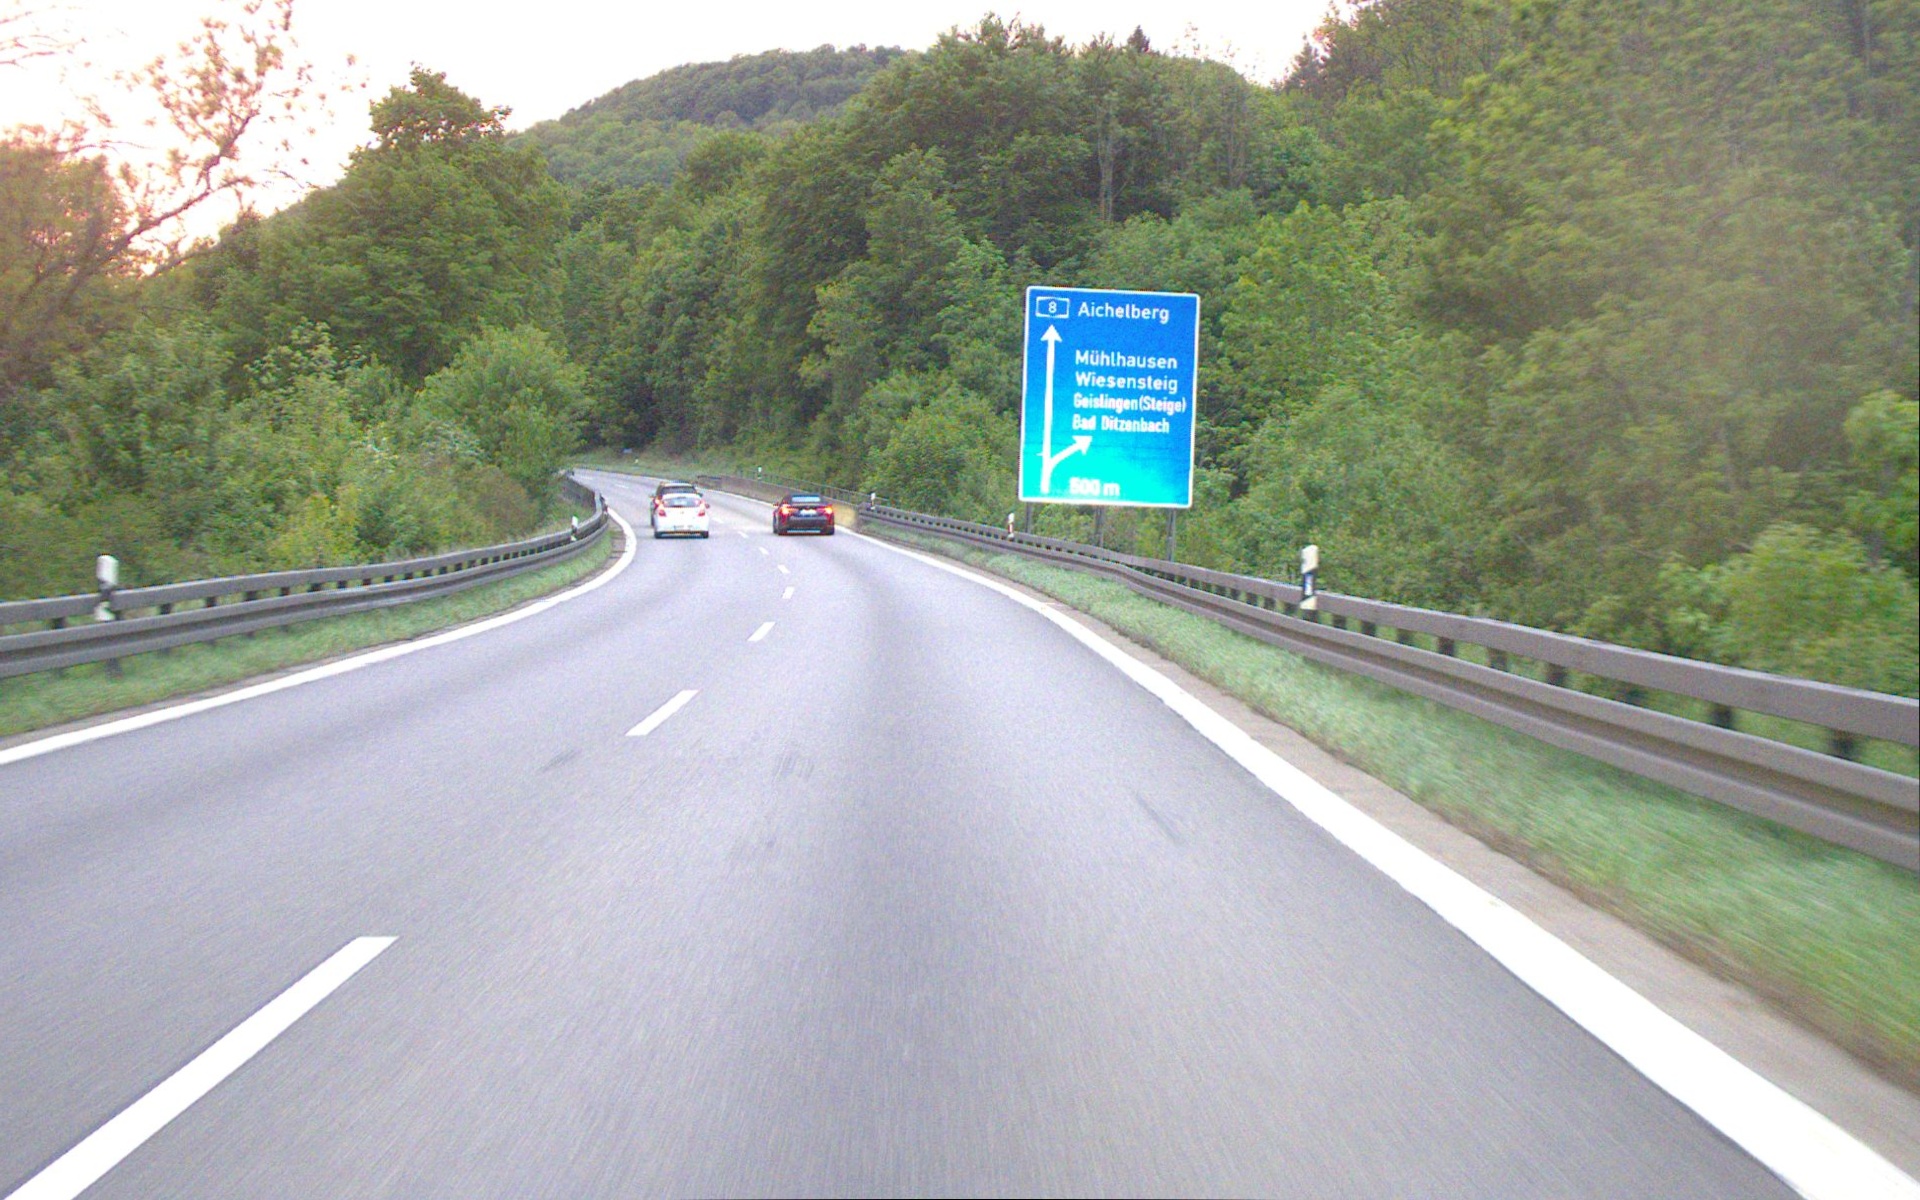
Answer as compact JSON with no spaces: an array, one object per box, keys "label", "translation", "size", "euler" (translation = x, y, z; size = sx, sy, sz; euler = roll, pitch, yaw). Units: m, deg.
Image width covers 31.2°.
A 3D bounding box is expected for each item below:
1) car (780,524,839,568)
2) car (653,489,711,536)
[{"label":"car","translation":[-5.101,-1.839,116.736],"size":[1.878,1.461,4.000],"euler":[1,1,-1]},{"label":"car","translation":[-9.185,-2.886,113.976],"size":[1.718,1.496,4.001],"euler":[1,1,-2]}]
